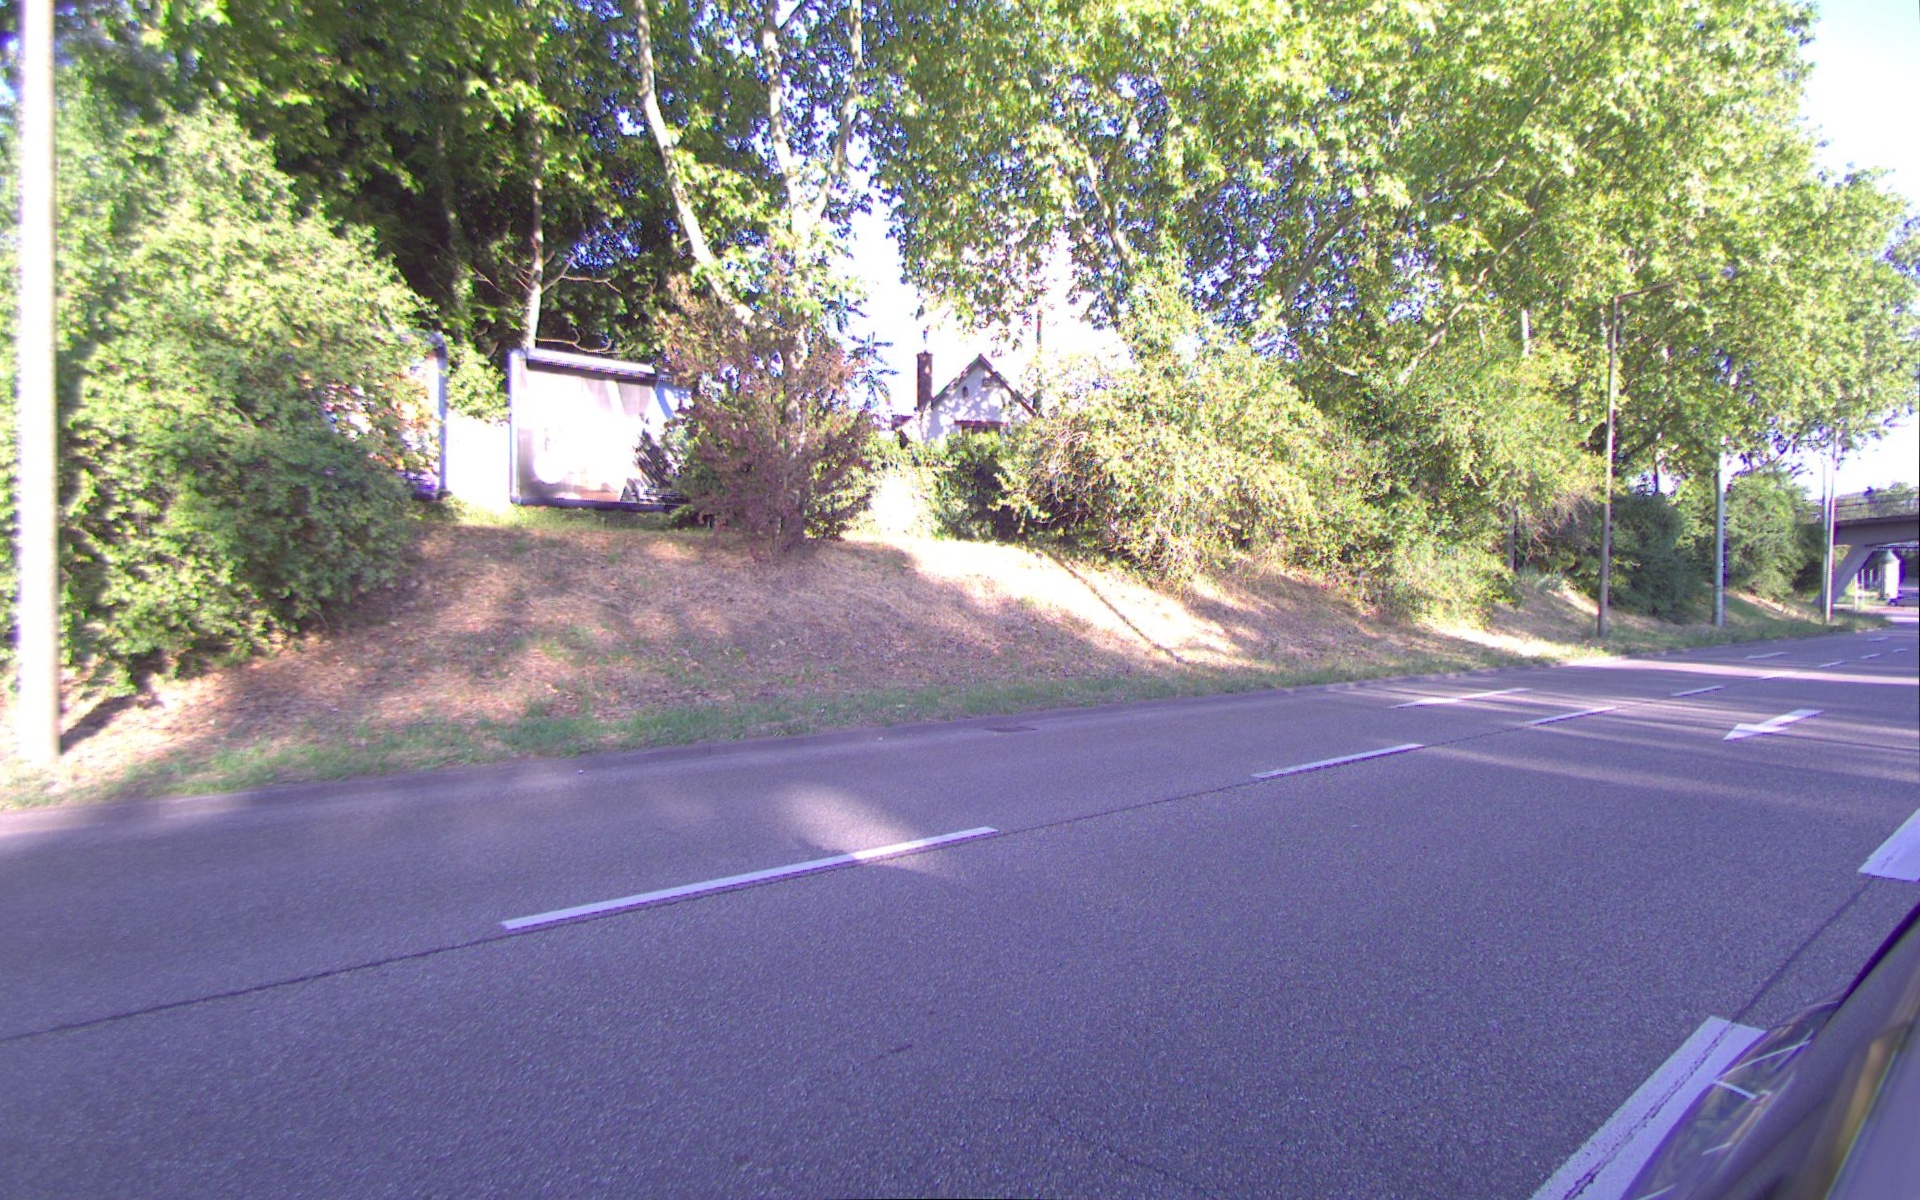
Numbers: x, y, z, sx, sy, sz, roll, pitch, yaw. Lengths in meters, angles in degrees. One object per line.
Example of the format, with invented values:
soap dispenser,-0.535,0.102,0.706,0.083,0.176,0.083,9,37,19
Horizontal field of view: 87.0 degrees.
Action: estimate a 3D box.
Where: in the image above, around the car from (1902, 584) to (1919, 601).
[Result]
car,90.901,-0.654,94.922,1.578,1.589,3.377,1,0,-24
